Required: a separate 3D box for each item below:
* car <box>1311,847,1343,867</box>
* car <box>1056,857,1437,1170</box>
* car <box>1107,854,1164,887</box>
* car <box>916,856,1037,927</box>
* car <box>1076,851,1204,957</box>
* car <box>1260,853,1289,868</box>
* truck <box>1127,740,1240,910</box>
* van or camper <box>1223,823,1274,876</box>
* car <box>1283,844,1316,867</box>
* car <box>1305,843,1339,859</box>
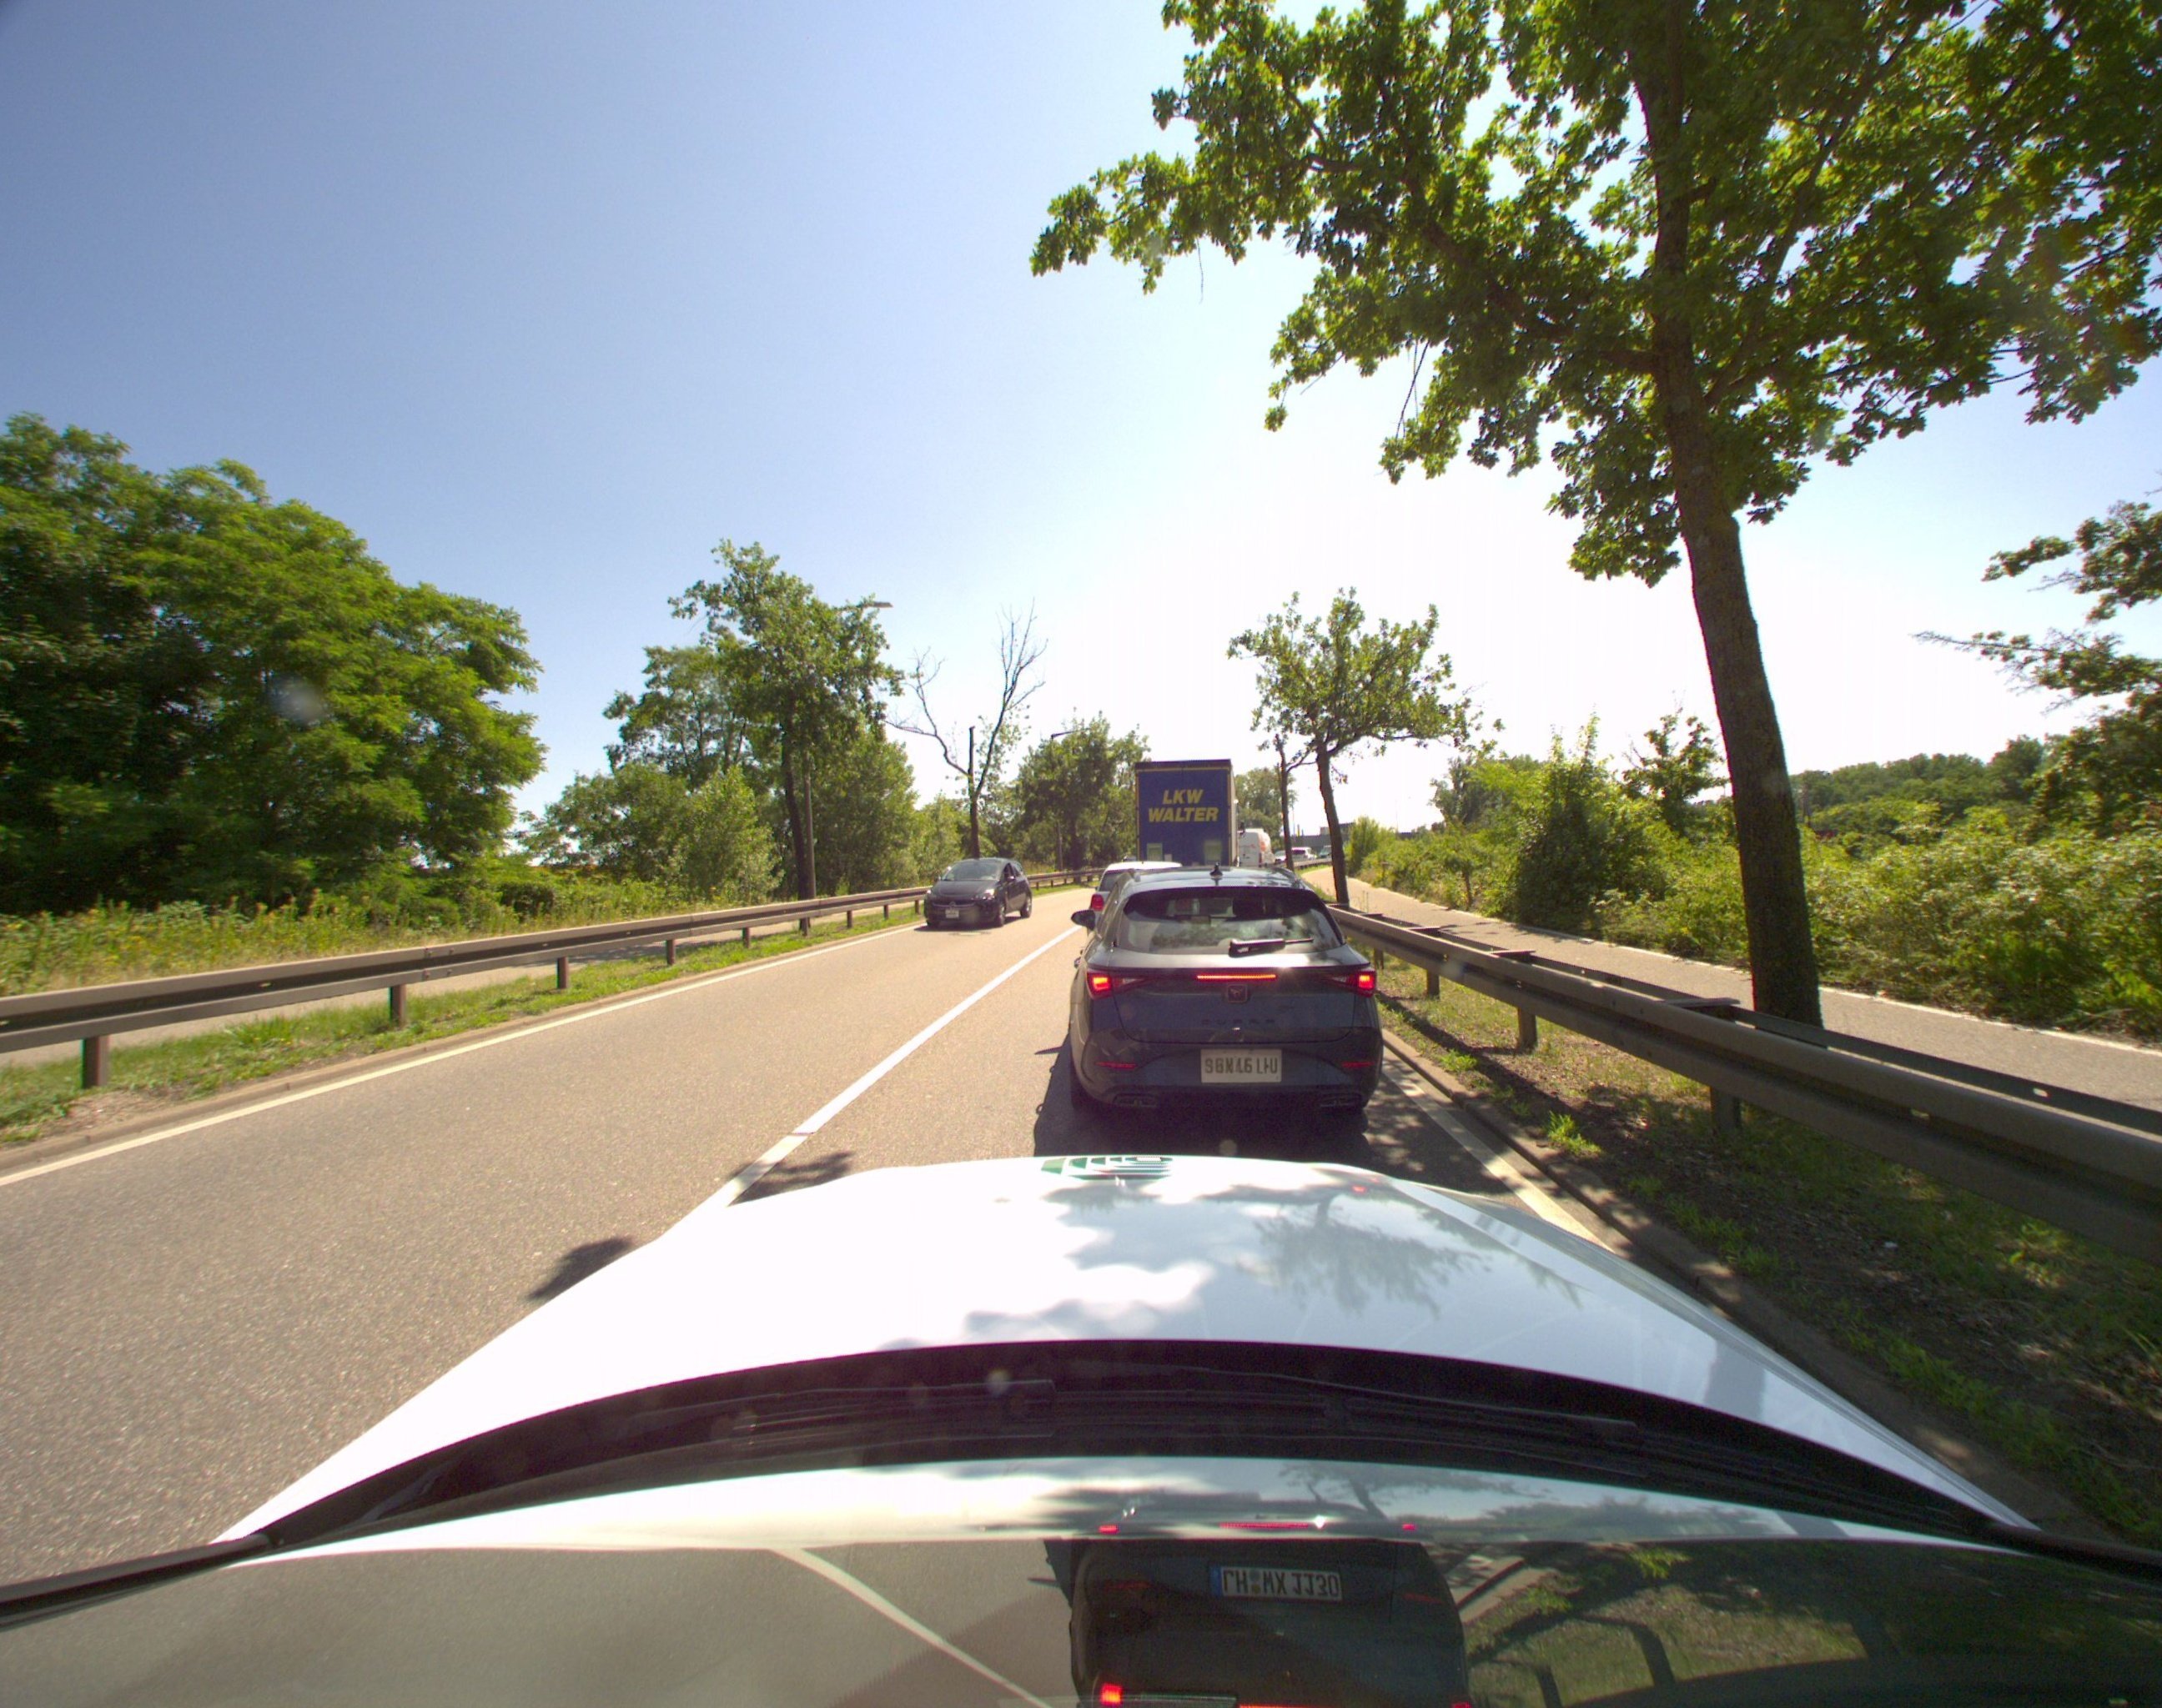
[{"bbox_3d":[23.195,0.243,76.643,1.975,1.808,4.875,-1,0,27],"label":"car"},{"bbox_3d":[0.838,0.749,5.702,1.737,1.432,3.882,-1,0,2],"label":"car"},{"bbox_3d":[2.592,0.710,37.804,1.846,1.421,4.274,-1,0,15],"label":"car"},{"bbox_3d":[-2.288,0.785,18.858,1.660,1.466,3.831,-1,0,11],"label":"car"},{"bbox_3d":[0.967,0.718,13.619,1.801,1.508,4.004,-1,0,4],"label":"car"},{"bbox_3d":[18.028,0.576,75.739,1.841,1.396,4.430,-1,0,23],"label":"car"},{"bbox_3d":[4.273,-0.733,29.781,2.931,4.449,16.848,-1,0,11],"label":"truck"},{"bbox_3d":[10.107,-0.244,48.808,2.447,2.998,6.112,-1,0,16],"label":"van or camper"},{"bbox_3d":[17.160,0.085,63.826,1.976,1.712,4.644,-1,0,21],"label":"car"},{"bbox_3d":[26.347,-0.315,88.946,2.109,1.681,4.911,-1,0,36],"label":"car"}]
